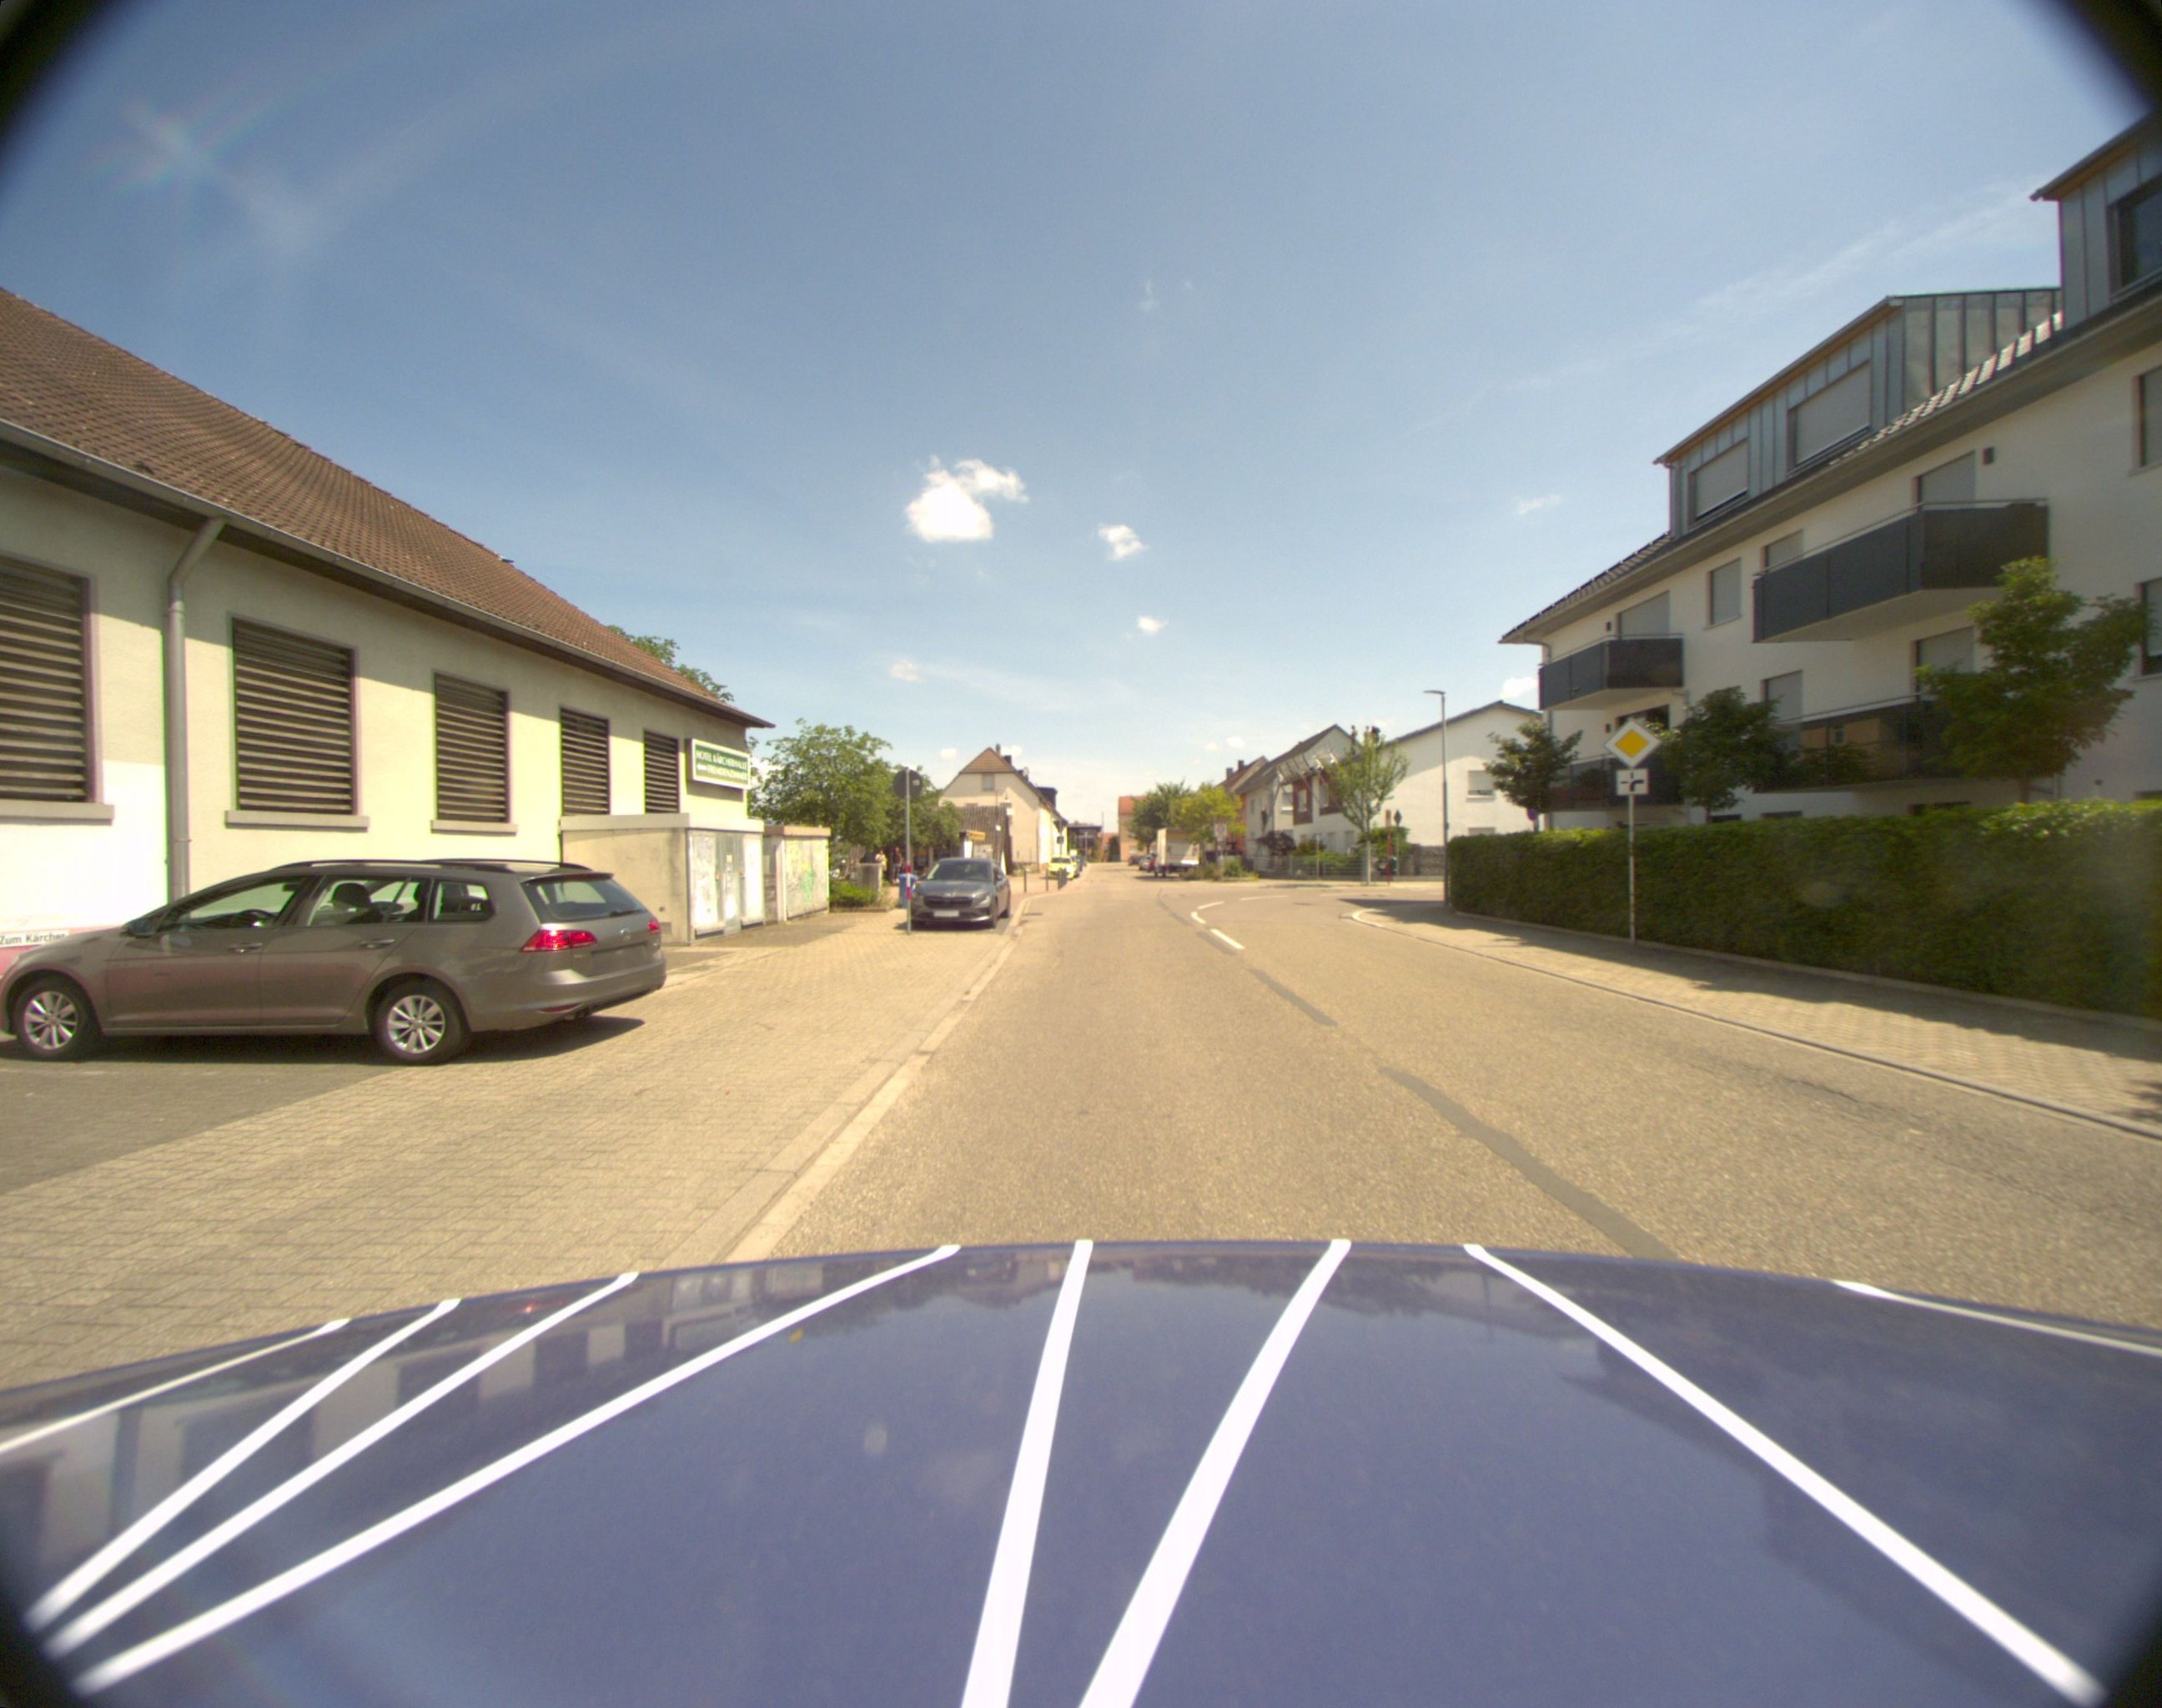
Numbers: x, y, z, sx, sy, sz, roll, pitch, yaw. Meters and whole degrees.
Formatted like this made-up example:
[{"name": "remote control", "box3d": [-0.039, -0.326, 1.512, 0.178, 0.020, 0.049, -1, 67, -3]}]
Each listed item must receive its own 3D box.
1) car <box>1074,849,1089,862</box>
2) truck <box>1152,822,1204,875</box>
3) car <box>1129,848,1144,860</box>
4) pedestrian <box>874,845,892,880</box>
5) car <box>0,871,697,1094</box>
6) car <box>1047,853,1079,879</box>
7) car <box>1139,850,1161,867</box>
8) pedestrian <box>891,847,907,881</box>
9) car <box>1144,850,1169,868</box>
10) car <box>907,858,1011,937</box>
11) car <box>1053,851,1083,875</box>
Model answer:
[{"name": "car", "box3d": [0.029, 0.188, 96.469, 1.720, 1.491, 4.215, 2, 1, 2]}, {"name": "truck", "box3d": [6.488, -0.385, 51.724, 2.444, 3.228, 7.035, 2, 1, -1]}, {"name": "car", "box3d": [7.460, -0.019, 102.192, 1.720, 1.491, 4.215, 1, 1, 1]}, {"name": "pedestrian", "box3d": [-10.096, 0.442, 38.824, 0.548, 1.778, 0.682, 0, 1, 43]}, {"name": "car", "box3d": [-5.902, 0.904, 6.231, 4.537, 1.446, 1.918, 0, 1, 2]}, {"name": "car", "box3d": [-1.068, 0.701, 46.890, 1.720, 1.390, 4.215, 2, 1, 2]}, {"name": "car", "box3d": [6.482, 0.370, 71.507, 1.720, 1.491, 4.215, 1, 1, 1]}, {"name": "pedestrian", "box3d": [-9.464, 0.518, 39.455, 0.463, 1.710, 0.599, 0, 1, 43]}, {"name": "car", "box3d": [6.454, 0.419, 65.336, 1.720, 1.491, 4.215, 1, 1, 1]}, {"name": "car", "box3d": [-2.595, 0.866, 17.035, 1.632, 1.480, 4.139, -1, 1, 0]}, {"name": "car", "box3d": [-0.835, 0.578, 51.472, 1.720, 1.491, 4.215, 2, 1, 2]}]
